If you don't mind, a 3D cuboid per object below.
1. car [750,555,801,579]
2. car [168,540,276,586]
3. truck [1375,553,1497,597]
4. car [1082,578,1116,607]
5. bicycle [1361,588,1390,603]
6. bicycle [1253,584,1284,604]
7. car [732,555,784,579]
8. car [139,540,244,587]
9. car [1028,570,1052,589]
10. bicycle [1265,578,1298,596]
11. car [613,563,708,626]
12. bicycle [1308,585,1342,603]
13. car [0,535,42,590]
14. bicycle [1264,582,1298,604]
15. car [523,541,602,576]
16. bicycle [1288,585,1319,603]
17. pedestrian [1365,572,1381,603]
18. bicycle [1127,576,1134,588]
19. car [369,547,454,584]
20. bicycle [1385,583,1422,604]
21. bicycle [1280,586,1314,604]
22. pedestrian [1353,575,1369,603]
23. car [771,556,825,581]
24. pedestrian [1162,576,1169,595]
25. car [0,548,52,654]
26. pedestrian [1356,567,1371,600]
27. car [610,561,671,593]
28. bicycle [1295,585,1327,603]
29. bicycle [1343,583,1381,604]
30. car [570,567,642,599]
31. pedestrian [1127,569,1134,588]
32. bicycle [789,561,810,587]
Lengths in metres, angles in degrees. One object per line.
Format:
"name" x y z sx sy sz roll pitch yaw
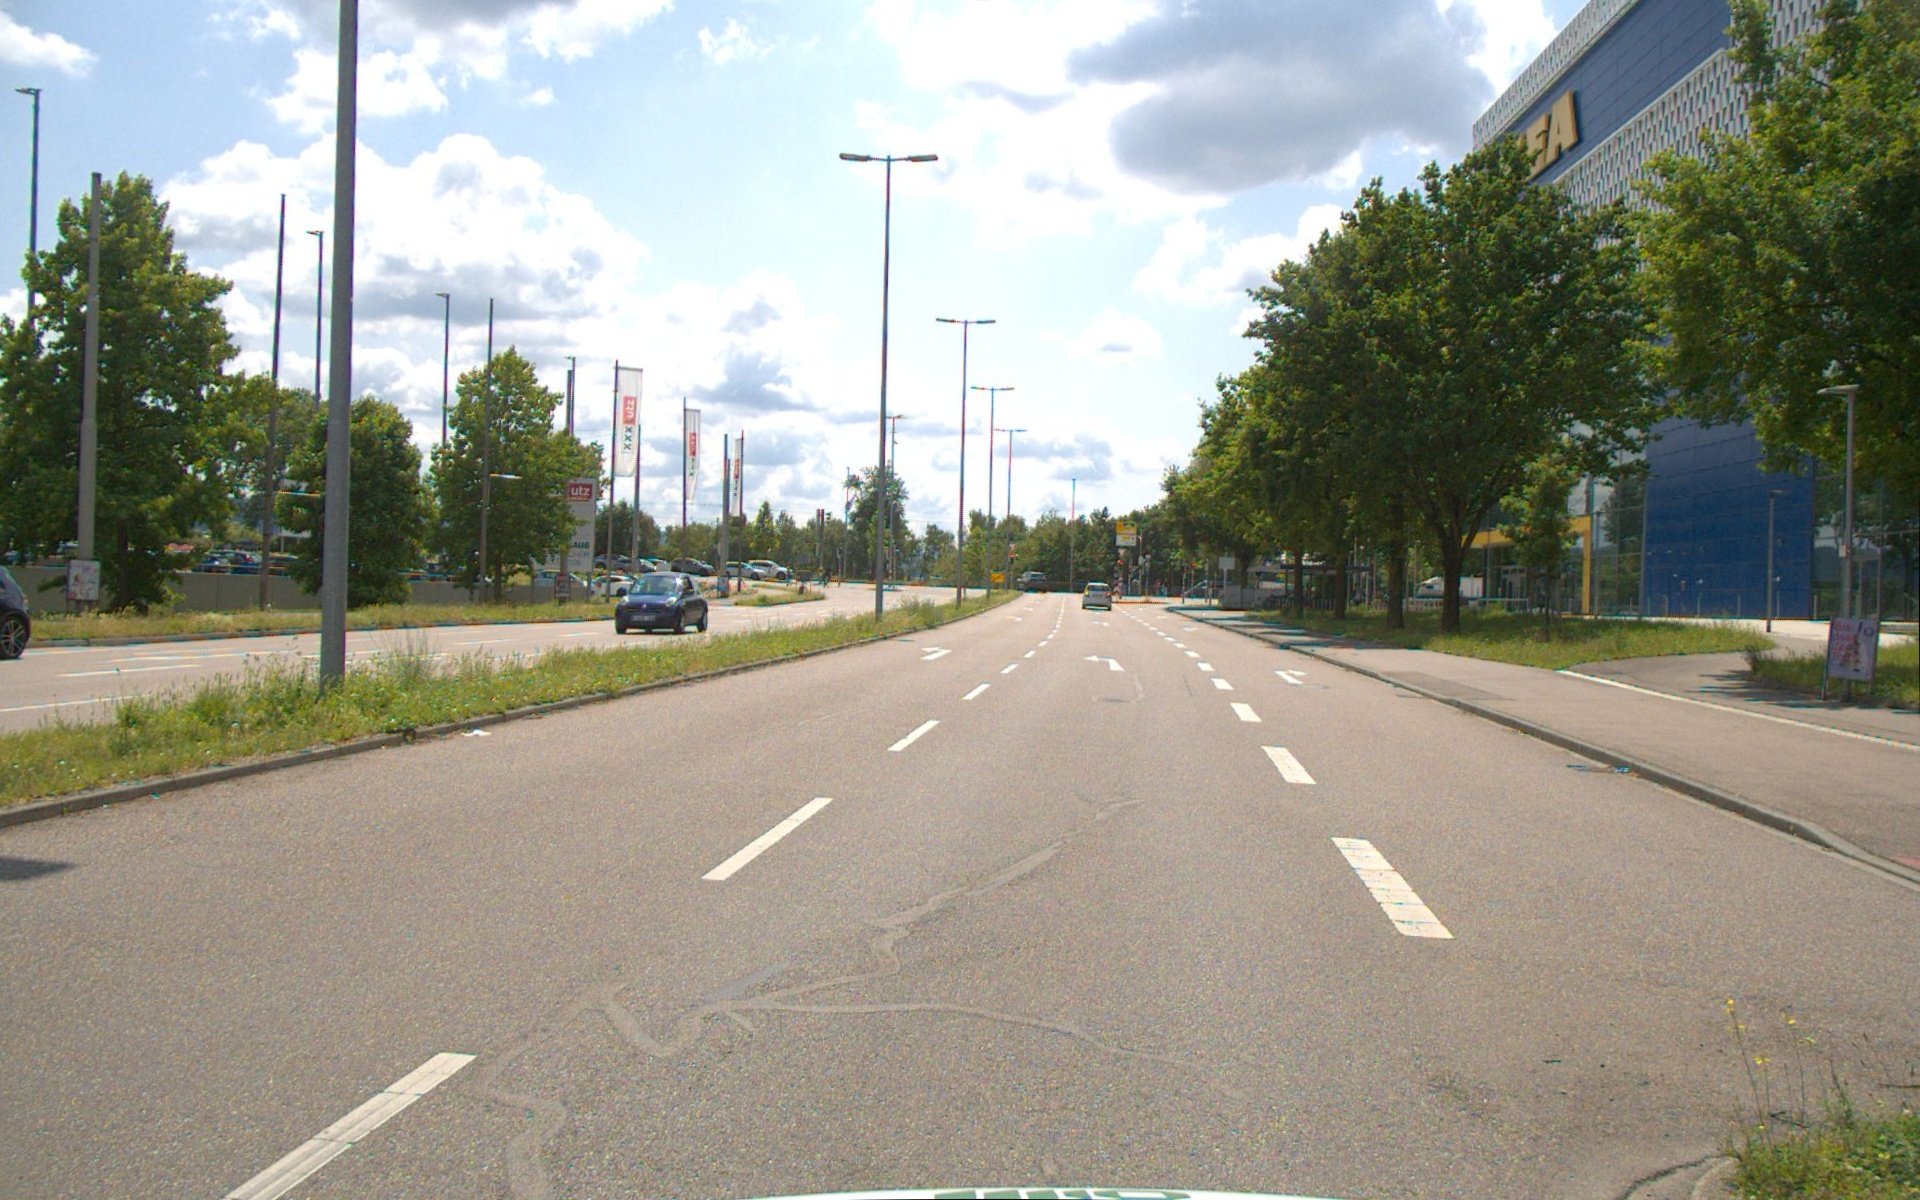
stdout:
"car" -16.672 -2.992 149.224 4.258 2.024 2.001 1 1 3
"car" -35.629 -1.767 79.923 4.258 2.023 2.001 2 1 3
"truck" 49.234 -2.607 171.433 11.707 4.176 2.954 2 1 4
"car" 8.080 -0.455 96.128 1.855 1.495 3.836 3 1 4
"bicycle" 27.563 -0.303 109.696 1.822 1.012 0.424 1 1 5
"bicycle" 19.072 -0.375 102.197 1.824 1.208 0.424 1 1 -1
"car" -17.896 -2.948 146.384 4.258 2.024 2.001 1 1 3
"car" -35.974 -1.699 77.516 3.987 2.024 1.843 3 0 2
"car" 7.120 -1.846 146.768 1.856 1.495 3.834 3 2 0
"bicycle" 19.187 -0.776 98.717 1.824 1.012 0.424 1 1 -1
"car" -7.590 -0.167 42.169 1.703 1.500 3.677 1 1 0
"bicycle" 20.983 -0.329 95.079 1.824 1.012 0.424 0 0 -1
"car" -37.294 -1.464 62.311 4.258 2.024 2.001 1 1 3
"bicycle" 18.429 -0.405 95.058 1.856 1.190 0.424 0 1 5
"car" -24.453 -2.531 101.834 4.258 2.024 2.001 1 1 3
"bicycle" 20.978 -0.380 100.984 1.822 1.052 0.424 1 1 5
"pedestrian" 29.353 -0.879 117.438 0.986 2.109 0.974 2 -2 17
"bicycle" 16.474 -1.719 159.944 0.606 1.106 1.723 2 1 5
"car" -33.935 -2.138 102.367 4.487 2.024 2.001 3 0 3
"bicycle" 26.854 -0.415 100.192 2.094 1.251 0.721 1 1 14
"bicycle" 18.572 -0.280 91.112 1.824 1.012 0.424 0 1 -1
"pedestrian" 28.340 -0.768 116.838 0.986 1.935 0.974 2 -2 17
"car" -13.896 -2.683 142.037 4.258 2.024 2.001 1 1 3
"pedestrian" 18.765 -1.324 151.018 0.512 1.751 0.731 1 1 7
"car" -14.505 0.020 22.579 1.585 1.495 4.120 1 1 7
"pedestrian" 22.057 -0.898 90.383 0.623 1.752 0.522 0 -1 40
"car" -21.834 -1.580 113.212 3.911 2.049 1.997 1 1 -7
"bicycle" 20.871 -0.338 98.422 1.824 1.012 0.424 1 -1 -1
"bicycle" 21.849 -0.370 89.962 1.979 1.127 0.574 0 0 42
"car" -23.302 -1.118 108.973 4.258 2.024 2.001 1 1 3
"pedestrian" 16.484 -2.085 159.904 0.598 1.799 0.673 2 1 5
"bicycle" -10.705 -1.752 110.310 0.996 1.704 2.050 1 1 4
